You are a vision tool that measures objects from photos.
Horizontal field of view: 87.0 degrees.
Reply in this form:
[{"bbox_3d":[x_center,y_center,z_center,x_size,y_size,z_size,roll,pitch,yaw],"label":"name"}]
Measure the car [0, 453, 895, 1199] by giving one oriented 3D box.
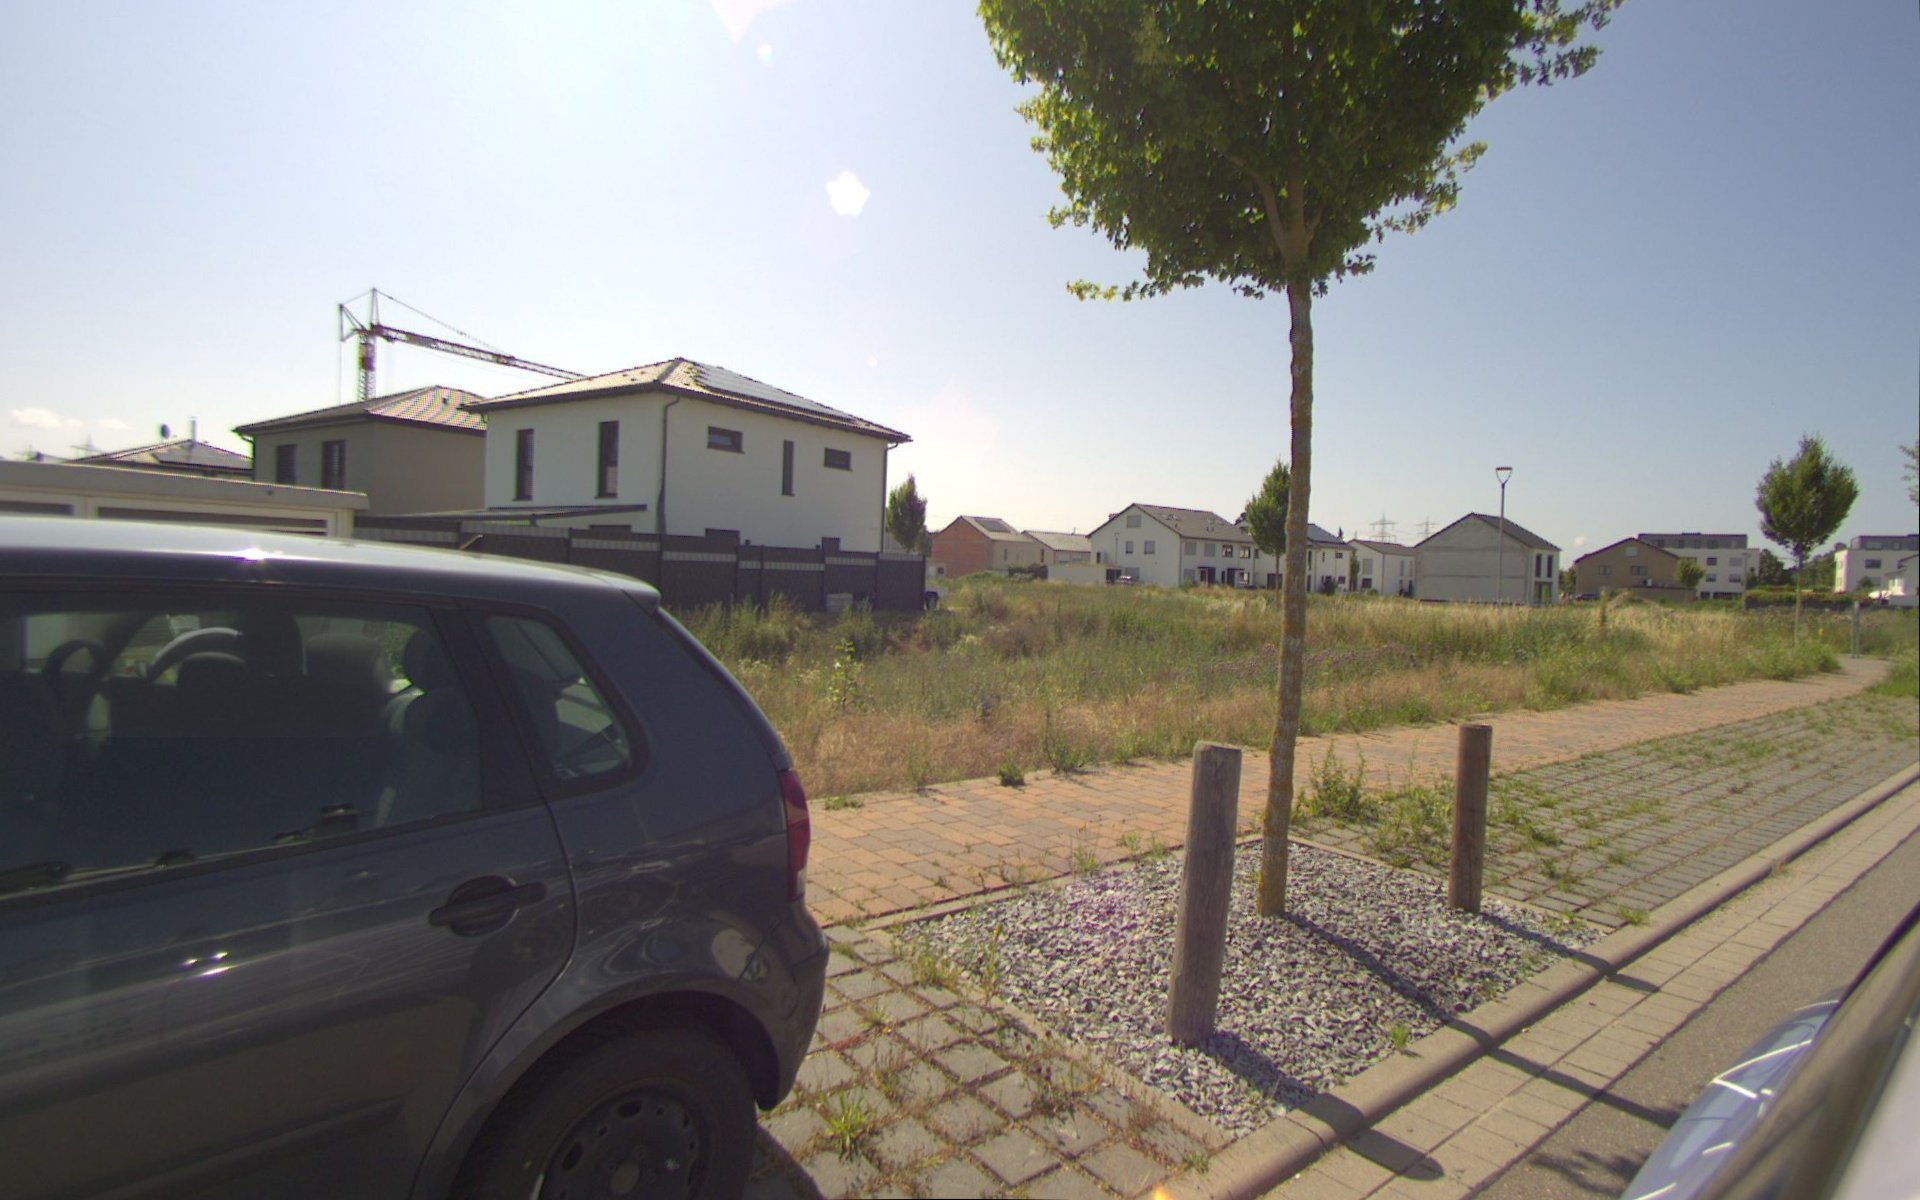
[{"bbox_3d":[-2.026,0.547,1.589,3.610,1.493,1.601,0,1,-41],"label":"car"}]
